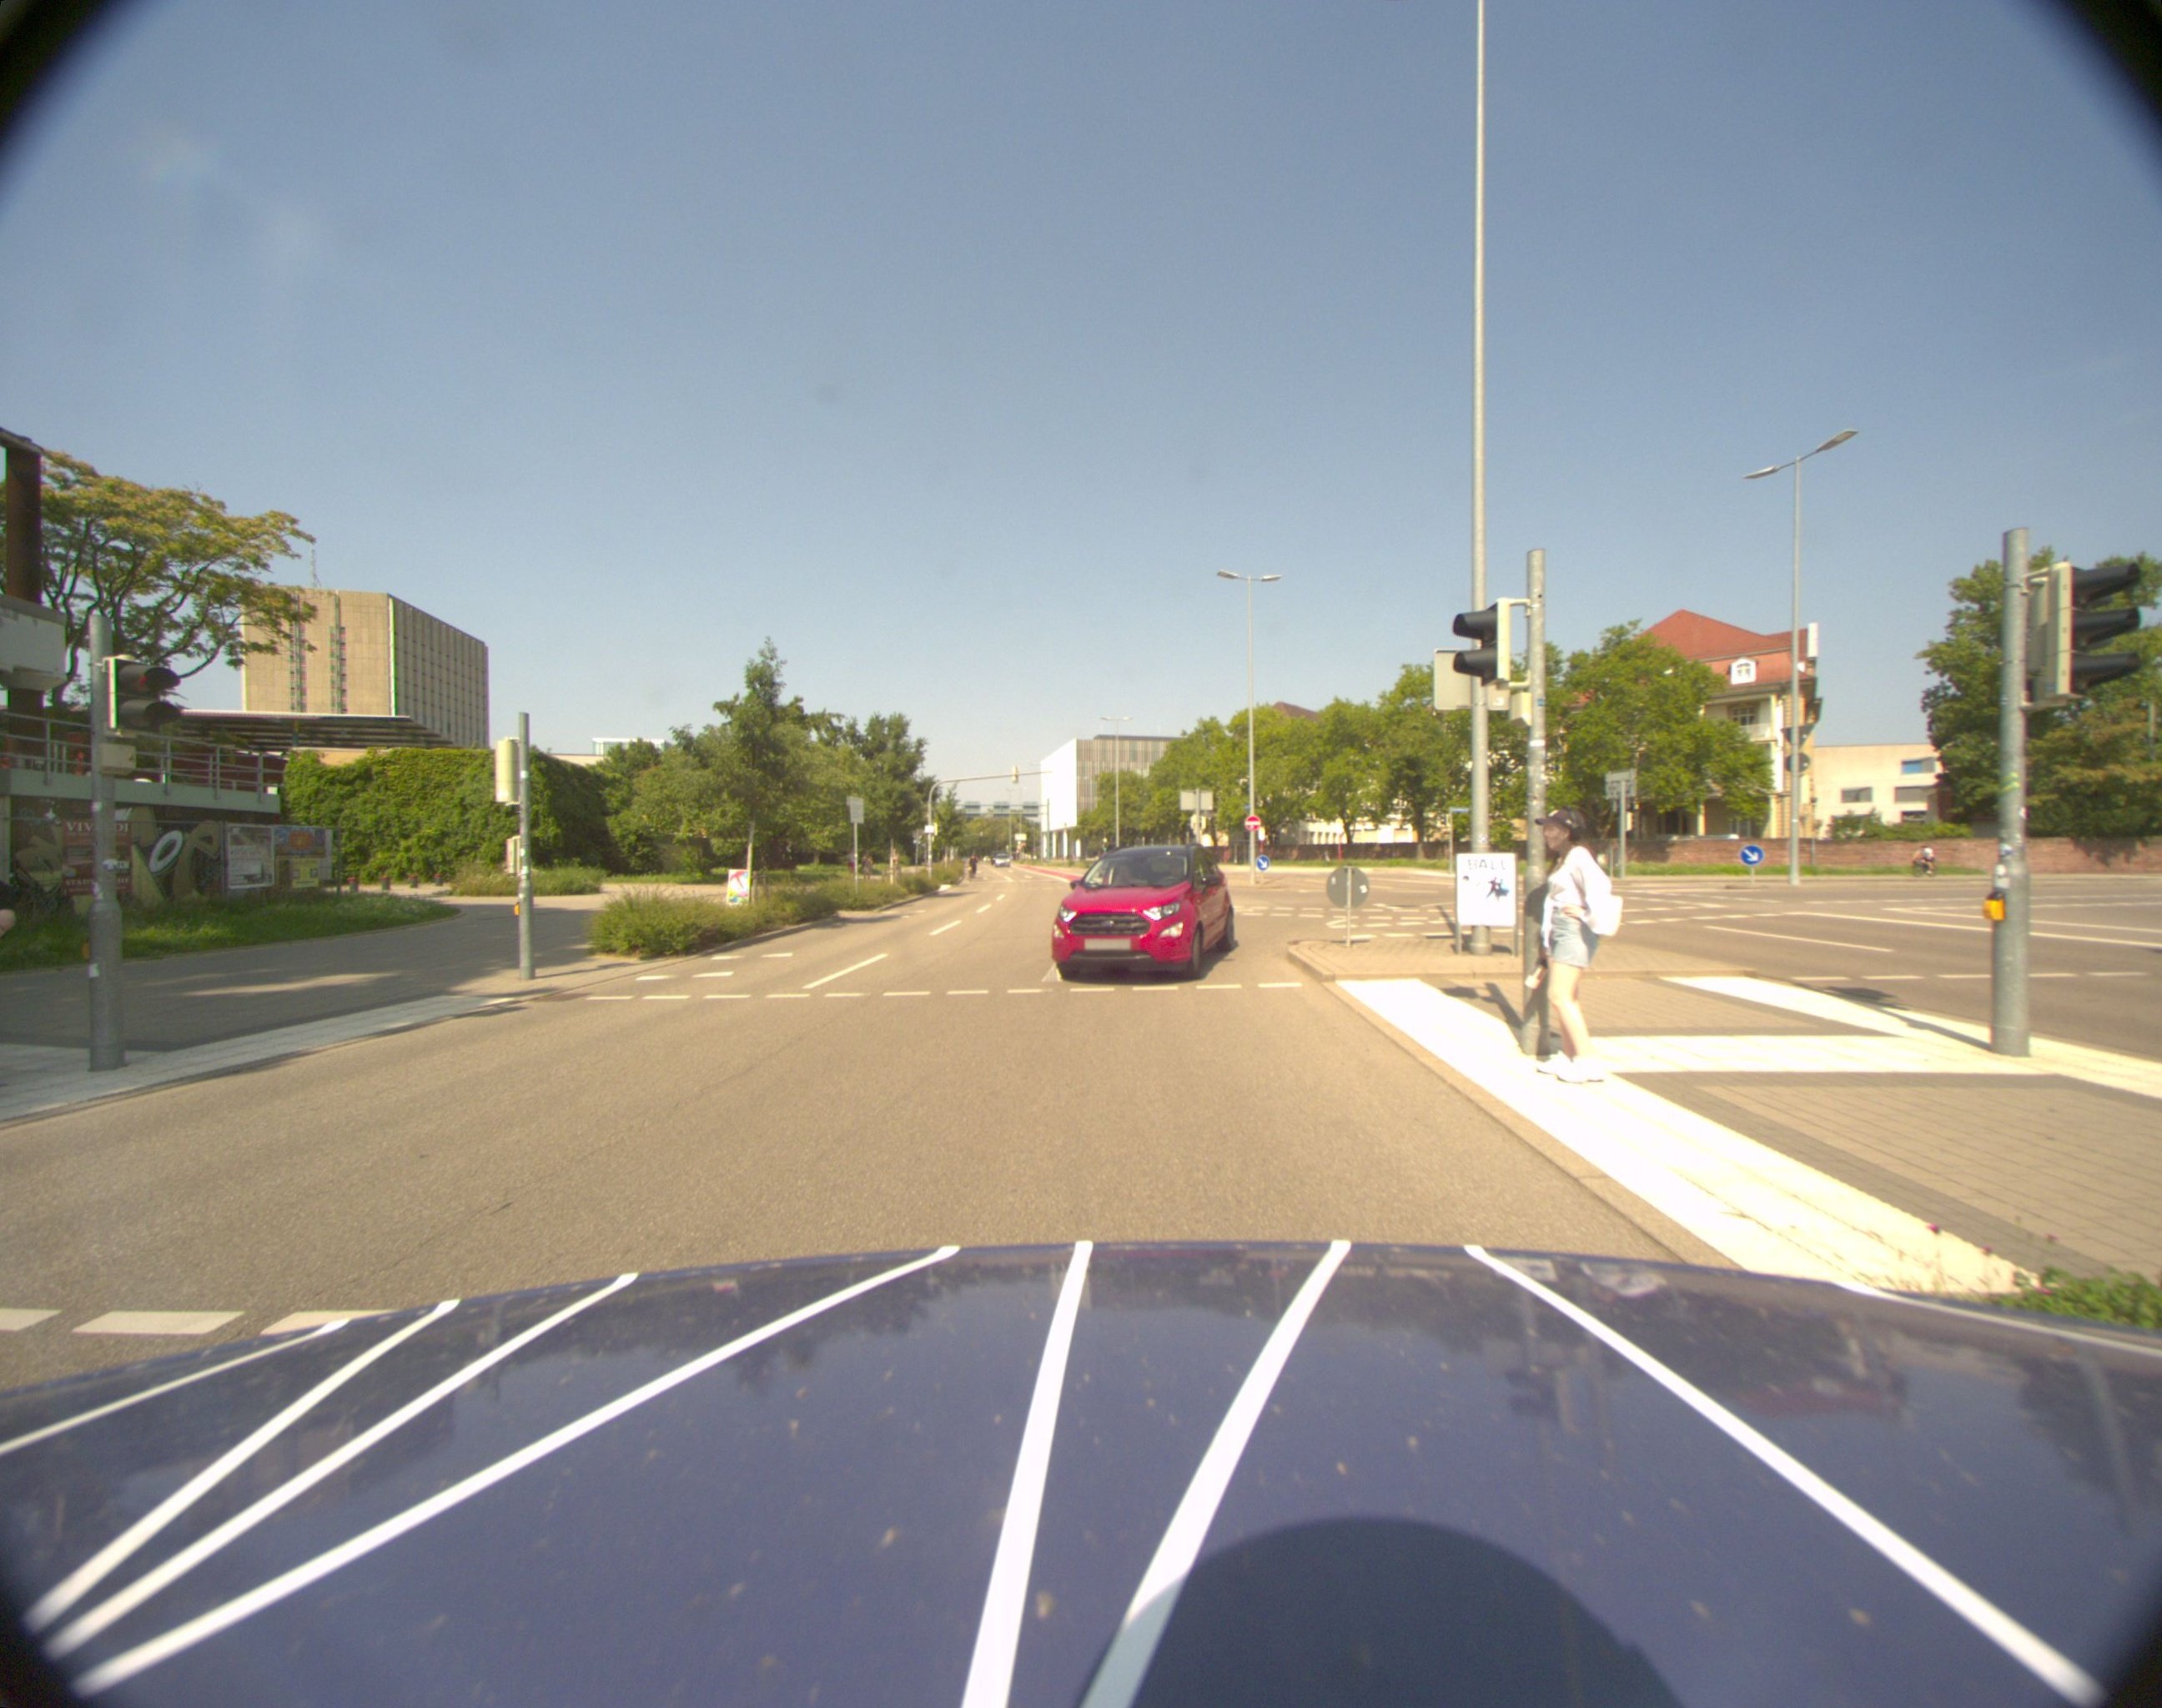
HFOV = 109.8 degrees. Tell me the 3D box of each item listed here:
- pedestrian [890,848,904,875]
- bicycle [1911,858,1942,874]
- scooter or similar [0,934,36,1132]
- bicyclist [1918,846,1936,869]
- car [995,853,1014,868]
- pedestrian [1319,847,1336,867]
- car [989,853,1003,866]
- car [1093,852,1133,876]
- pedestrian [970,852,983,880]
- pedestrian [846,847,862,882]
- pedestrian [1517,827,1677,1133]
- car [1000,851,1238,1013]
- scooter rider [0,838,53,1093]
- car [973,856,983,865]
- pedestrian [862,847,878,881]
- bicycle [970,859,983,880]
[{"bbox_3d":[-12.331,0.508,50.885,0.794,1.758,0.826,0,1,-8],"label":"pedestrian"},{"bbox_3d":[44.771,0.636,40.243,1.486,0.807,0.437,-1,1,-14],"label":"bicycle"},{"bbox_3d":[-7.759,1.202,5.158,1.364,1.227,0.586,1,1,28],"label":"scooter or similar"},{"bbox_3d":[44.783,0.196,40.236,0.541,1.226,0.432,0,1,-14],"label":"bicyclist"},{"bbox_3d":[-9.317,0.773,92.299,2.000,1.669,3.997,-1,0,-8],"label":"car"},{"bbox_3d":[25.038,0.257,77.195,1.074,2.002,1.231,0,1,-31],"label":"pedestrian"},{"bbox_3d":[-12.326,0.784,110.085,2.000,1.769,3.997,-1,0,-8],"label":"car"},{"bbox_3d":[1.920,0.568,46.531,1.792,1.349,3.421,-2,1,-8],"label":"car"},{"bbox_3d":[-6.256,0.717,45.449,0.780,1.659,0.548,0,1,-8],"label":"pedestrian"},{"bbox_3d":[-11.617,0.524,38.865,0.694,1.761,0.587,0,1,-7],"label":"pedestrian"},{"bbox_3d":[3.076,0.691,4.595,0.698,1.685,0.608,0,1,25],"label":"pedestrian"},{"bbox_3d":[0.724,0.786,9.713,1.841,1.605,4.006,-1,0,21],"label":"car"},{"bbox_3d":[-7.737,0.753,5.208,0.803,1.729,0.690,1,1,28],"label":"scooter rider"},{"bbox_3d":[-20.601,1.226,151.538,2.000,1.769,3.997,-1,0,-8],"label":"car"},{"bbox_3d":[-10.823,0.513,39.036,0.694,1.761,0.587,0,1,-7],"label":"pedestrian"},{"bbox_3d":[-6.264,0.912,45.551,0.786,1.205,1.788,0,0,-7],"label":"bicycle"}]
